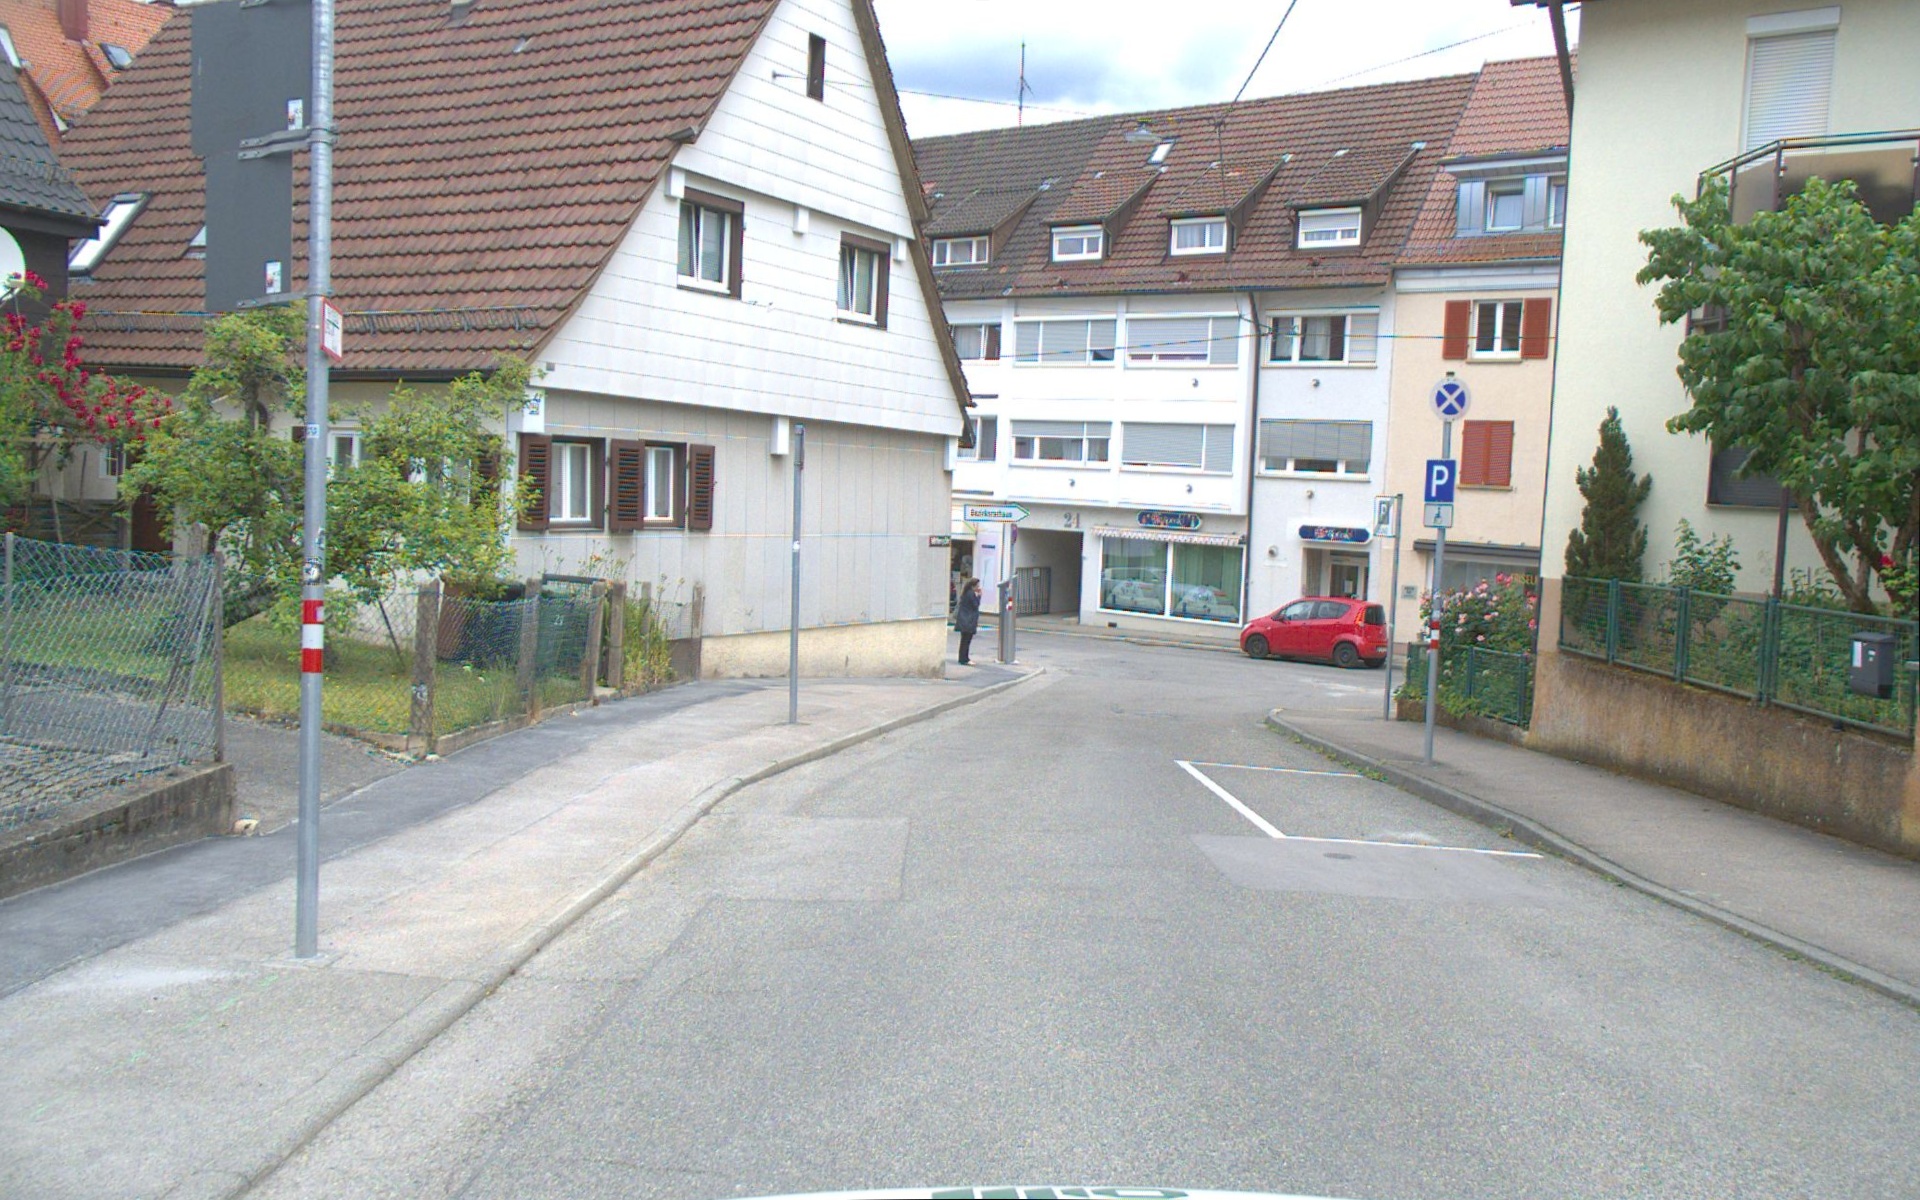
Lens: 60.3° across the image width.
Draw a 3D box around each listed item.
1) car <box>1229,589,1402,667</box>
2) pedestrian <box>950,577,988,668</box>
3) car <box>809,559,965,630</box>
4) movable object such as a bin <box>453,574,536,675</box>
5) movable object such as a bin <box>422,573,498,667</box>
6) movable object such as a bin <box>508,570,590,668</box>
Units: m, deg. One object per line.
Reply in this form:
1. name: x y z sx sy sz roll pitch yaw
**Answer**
1. car: 8.461 0.638 39.538 3.629 1.583 1.688 4 2 41
2. pedestrian: 0.172 0.432 32.428 0.634 1.714 0.604 3 1 -4
3. car: -2.137 -0.187 47.739 4.288 1.810 1.938 4 2 39
4. movable object such as a bin: -4.668 0.248 16.604 0.517 0.933 0.489 7 0 29
5. movable object such as a bin: -5.111 0.209 16.913 0.485 0.892 0.452 7 0 29
6. movable object such as a bin: -4.112 0.191 16.547 0.517 0.899 0.489 7 0 29
